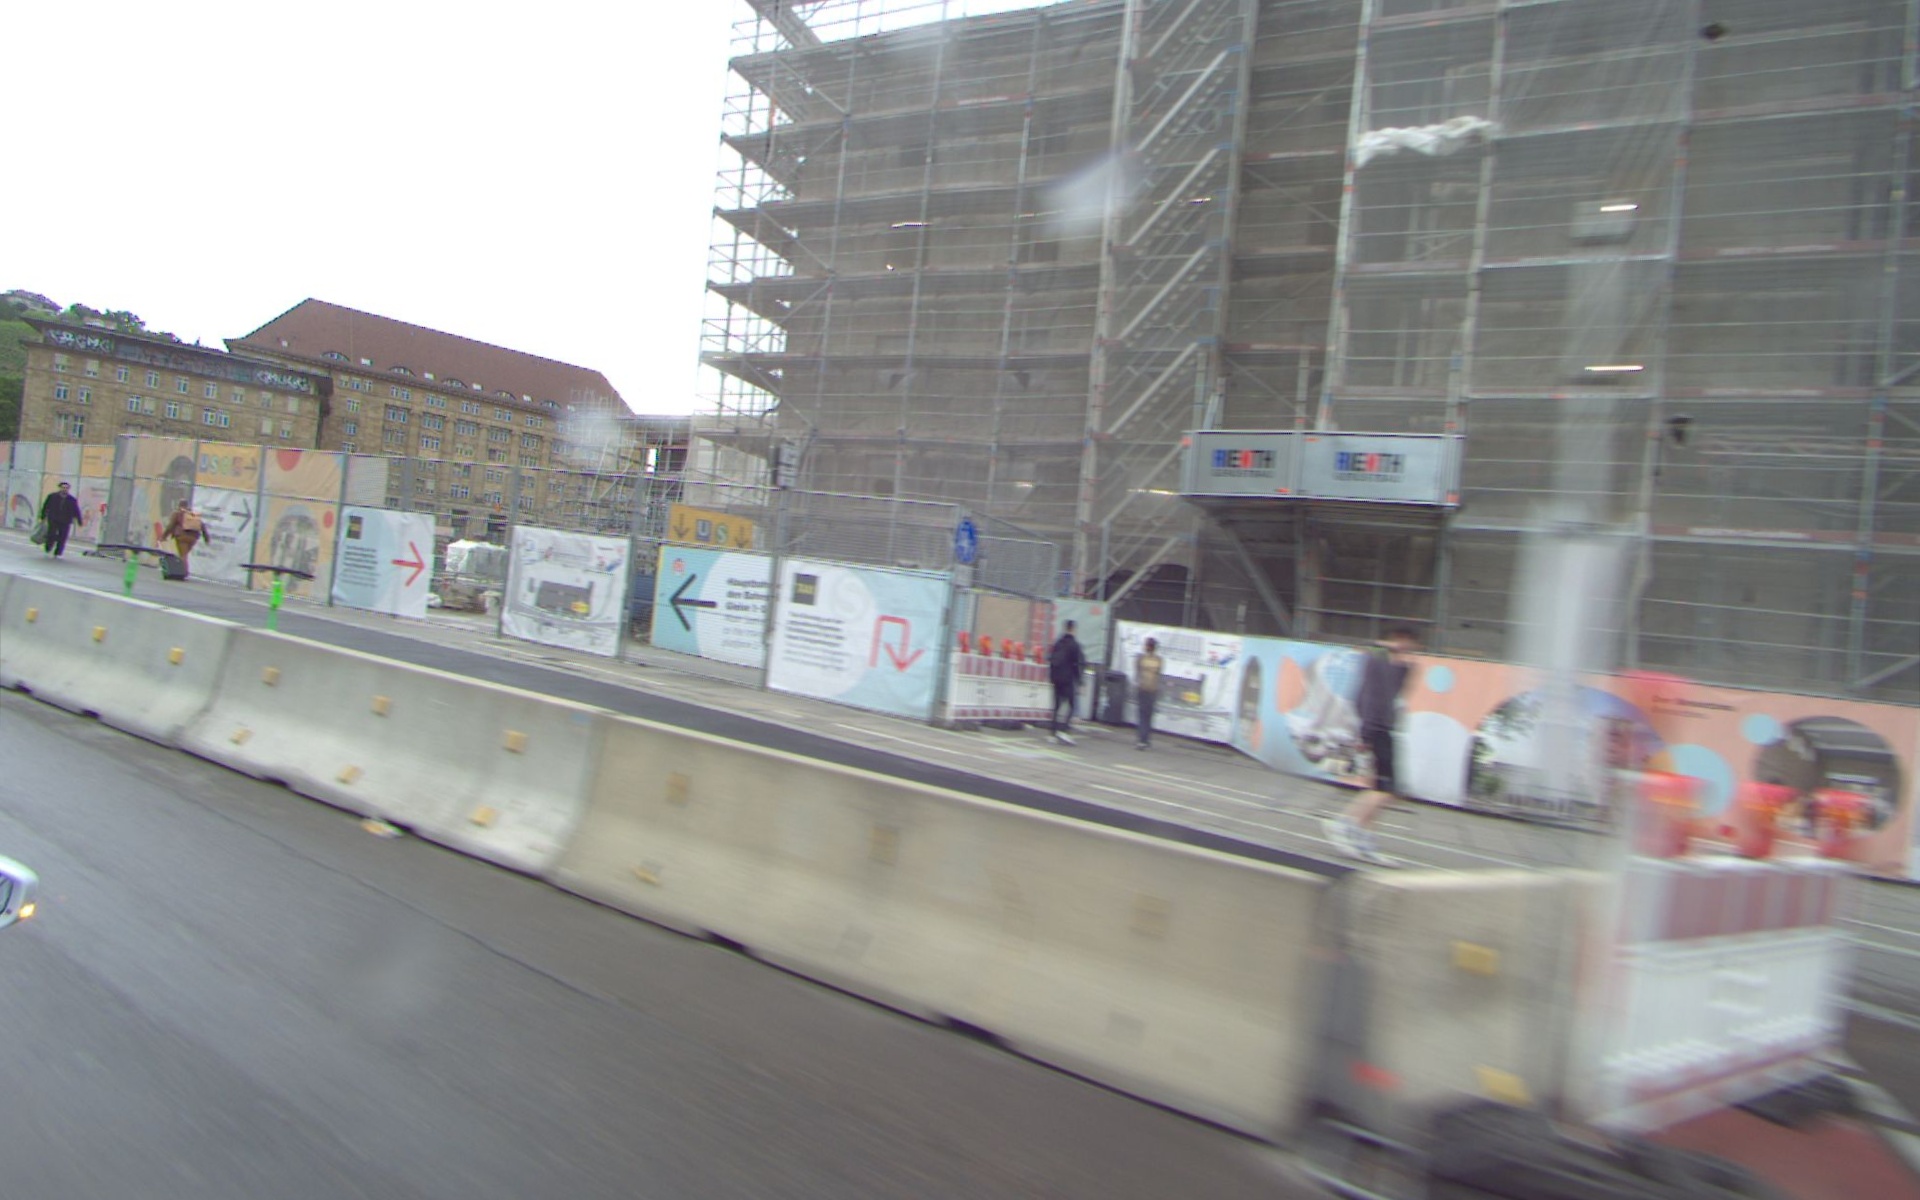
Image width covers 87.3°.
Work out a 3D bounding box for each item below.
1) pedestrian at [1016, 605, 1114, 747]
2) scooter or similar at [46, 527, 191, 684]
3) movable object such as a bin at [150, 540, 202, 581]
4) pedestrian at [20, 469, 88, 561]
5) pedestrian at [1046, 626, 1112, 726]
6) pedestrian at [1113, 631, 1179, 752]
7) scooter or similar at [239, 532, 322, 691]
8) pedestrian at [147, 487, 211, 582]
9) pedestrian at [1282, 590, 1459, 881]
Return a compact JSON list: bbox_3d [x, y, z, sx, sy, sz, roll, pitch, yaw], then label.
[{"bbox_3d":[1.479,1.071,14.241,0.992,1.872,0.671,6,1,-30],"label":"pedestrian"},{"bbox_3d":[-7.976,0.054,9.541,1.006,1.350,0.526,7,0,20],"label":"scooter or similar"},{"bbox_3d":[-16.680,-0.842,21.392,0.765,0.743,0.597,7,0,32],"label":"movable object such as a bin"},{"bbox_3d":[-20.446,-1.910,22.713,0.651,1.918,0.849,7,0,32],"label":"pedestrian"},{"bbox_3d":[2.258,1.441,19.101,0.792,1.777,0.814,7,0,32],"label":"pedestrian"},{"bbox_3d":[2.924,1.425,15.782,0.638,1.777,0.815,7,0,26],"label":"pedestrian"},{"bbox_3d":[-6.247,0.085,9.240,0.489,1.350,1.015,6,0,-35],"label":"scooter or similar"},{"bbox_3d":[-16.873,-1.404,21.749,0.643,1.918,0.768,7,0,32],"label":"pedestrian"},{"bbox_3d":[3.210,1.017,7.860,0.852,2.037,0.786,9,2,36],"label":"pedestrian"}]
